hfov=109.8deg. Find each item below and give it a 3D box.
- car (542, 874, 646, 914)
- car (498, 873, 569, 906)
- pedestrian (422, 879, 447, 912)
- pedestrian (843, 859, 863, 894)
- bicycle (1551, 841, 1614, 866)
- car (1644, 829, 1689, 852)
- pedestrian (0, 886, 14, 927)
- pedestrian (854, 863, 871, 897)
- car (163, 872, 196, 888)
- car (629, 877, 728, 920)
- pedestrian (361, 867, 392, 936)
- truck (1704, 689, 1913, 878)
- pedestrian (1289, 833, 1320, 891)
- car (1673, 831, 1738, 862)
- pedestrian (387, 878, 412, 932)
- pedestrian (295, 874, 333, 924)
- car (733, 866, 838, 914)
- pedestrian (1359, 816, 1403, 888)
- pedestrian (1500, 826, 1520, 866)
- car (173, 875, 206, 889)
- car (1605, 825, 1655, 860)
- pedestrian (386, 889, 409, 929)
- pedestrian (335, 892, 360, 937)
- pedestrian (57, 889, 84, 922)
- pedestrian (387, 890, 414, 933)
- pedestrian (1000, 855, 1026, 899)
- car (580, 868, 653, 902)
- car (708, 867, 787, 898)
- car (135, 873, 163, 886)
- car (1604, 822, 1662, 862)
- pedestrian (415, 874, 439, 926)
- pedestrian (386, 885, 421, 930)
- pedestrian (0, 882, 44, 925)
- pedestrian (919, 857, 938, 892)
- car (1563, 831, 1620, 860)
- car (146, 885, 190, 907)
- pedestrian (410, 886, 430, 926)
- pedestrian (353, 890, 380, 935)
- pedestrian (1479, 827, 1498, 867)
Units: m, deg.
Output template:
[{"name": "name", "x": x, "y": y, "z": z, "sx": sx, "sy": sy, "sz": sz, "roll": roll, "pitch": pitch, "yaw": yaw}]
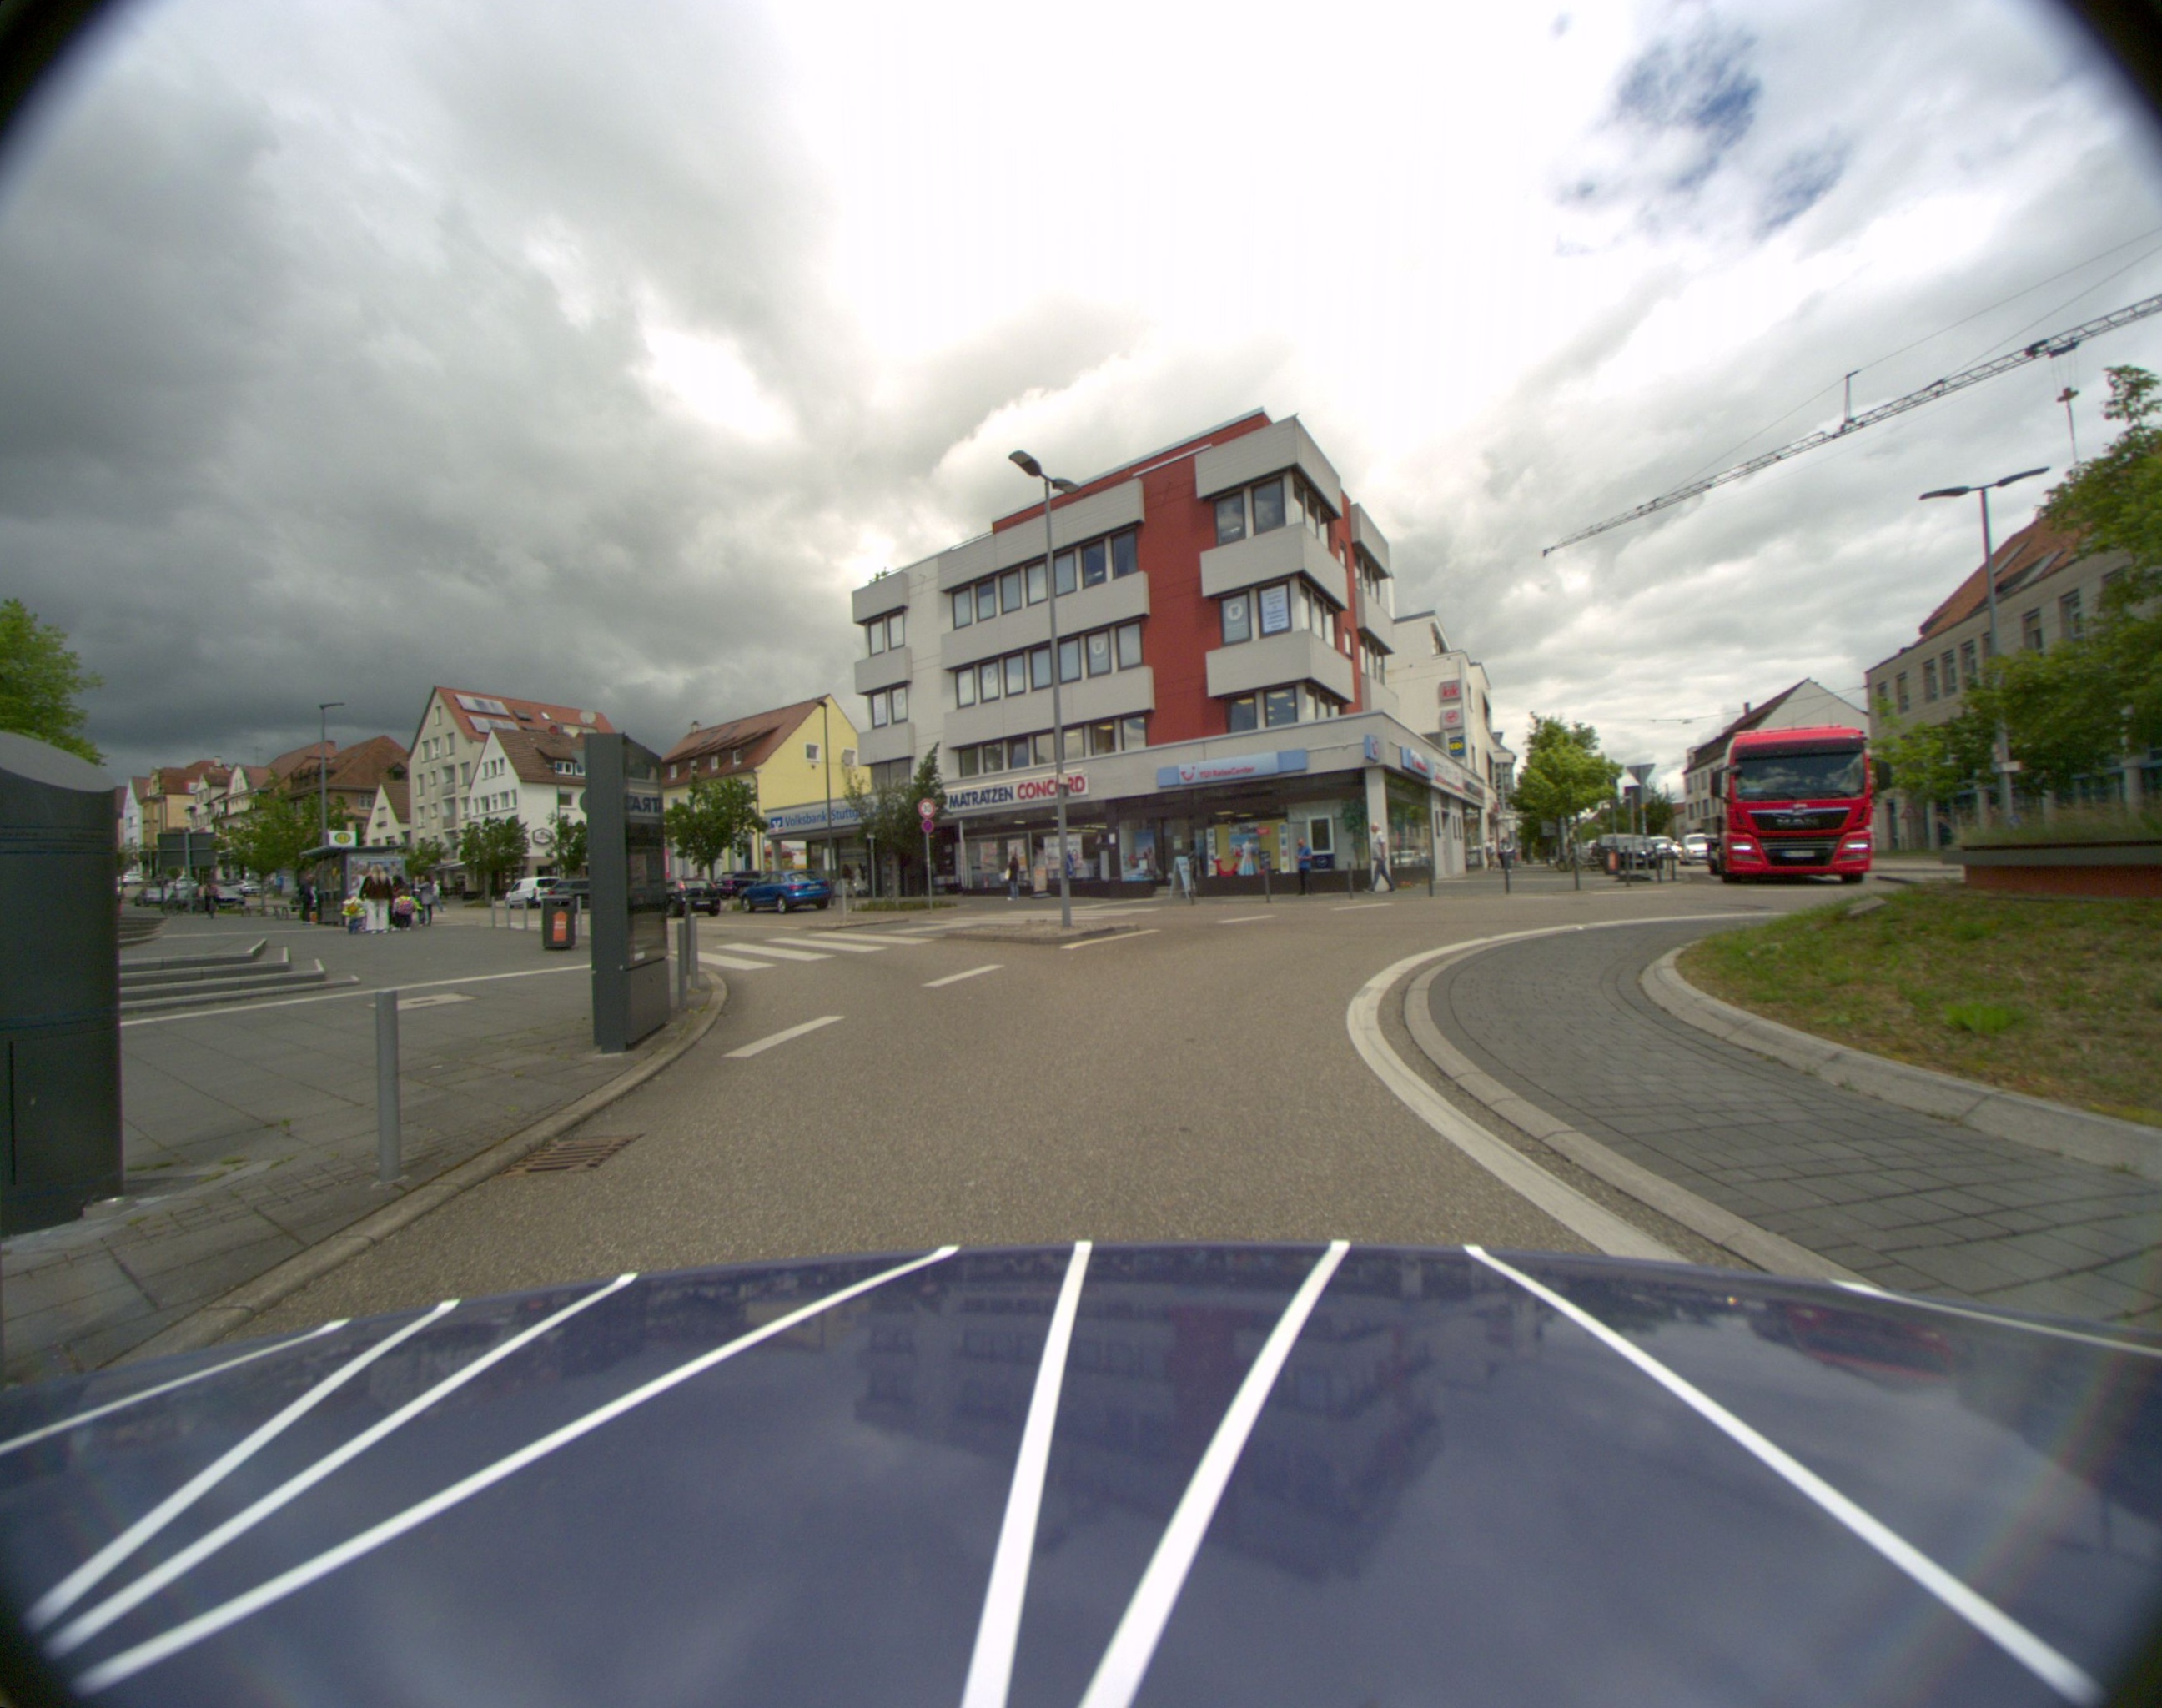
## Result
[{"name": "car", "x": -22.268, "y": 1.801, "z": 34.941, "sx": 3.740, "sy": 1.516, "sz": 1.891, "roll": -2, "pitch": 2, "yaw": -24}, {"name": "car", "x": -30.716, "y": 1.980, "z": 42.614, "sx": 4.339, "sy": 1.662, "sz": 1.665, "roll": -2, "pitch": 1, "yaw": 33}, {"name": "pedestrian", "x": -33.390, "y": 2.130, "z": 39.250, "sx": 0.687, "sy": 1.672, "sz": 0.713, "roll": -2, "pitch": 0, "yaw": -12}, {"name": "pedestrian", "x": -10.375, "y": 1.008, "z": 34.541, "sx": 0.585, "sy": 1.557, "sz": 0.646, "roll": -2, "pitch": -1, "yaw": 38}, {"name": "bicycle", "x": 20.042, "y": -0.016, "z": 30.424, "sx": 2.060, "sy": 0.940, "sz": 0.523, "roll": -1, "pitch": 1, "yaw": 31}, {"name": "car", "x": 37.705, "y": -0.896, "z": 48.999, "sx": 1.678, "sy": 1.324, "sz": 3.863, "roll": -3, "pitch": 0, "yaw": 29}, {"name": "pedestrian", "x": -32.540, "y": 1.570, "z": 22.749, "sx": 0.570, "sy": 1.220, "sz": 0.565, "roll": -3, "pitch": 1, "yaw": -44}, {"name": "pedestrian", "x": -10.126, "y": 1.192, "z": 35.231, "sx": 0.585, "sy": 1.557, "sz": 0.512, "roll": -2, "pitch": -1, "yaw": 37}, {"name": "car", "x": -103.329, "y": 2.958, "z": 87.093, "sx": 3.981, "sy": 1.670, "sz": 1.736, "roll": 0, "pitch": 1, "yaw": 31}, {"name": "car", "x": -15.253, "y": 1.630, "z": 28.705, "sx": 4.107, "sy": 1.411, "sz": 1.707, "roll": -2, "pitch": 1, "yaw": 38}, {"name": "pedestrian", "x": -18.698, "y": 1.246, "z": 20.154, "sx": 0.434, "sy": 1.812, "sz": 0.542, "roll": -2, "pitch": -2, "yaw": 41}, {"name": "truck", "x": 19.643, "y": -1.602, "z": 21.253, "sx": 2.959, "sy": 4.004, "sz": 10.616, "roll": -1, "pitch": 1, "yaw": 37}, {"name": "pedestrian", "x": 6.360, "y": 0.229, "z": 21.648, "sx": 0.606, "sy": 1.594, "sz": 0.568, "roll": -3, "pitch": 0, "yaw": -5}, {"name": "car", "x": 29.163, "y": -0.383, "z": 35.586, "sx": 1.678, "sy": 1.324, "sz": 3.863, "roll": -3, "pitch": 0, "yaw": 29}, {"name": "pedestrian", "x": -19.235, "y": 1.437, "z": 21.449, "sx": 0.389, "sy": 1.508, "sz": 0.391, "roll": -1, "pitch": -1, "yaw": 28}, {"name": "pedestrian", "x": -25.854, "y": 1.512, "z": 25.621, "sx": 0.802, "sy": 1.627, "sz": 0.685, "roll": -1, "pitch": 0, "yaw": -40}, {"name": "car", "x": -11.416, "y": 1.373, "z": 29.216, "sx": 4.319, "sy": 1.591, "sz": 1.703, "roll": -2, "pitch": 2, "yaw": 39}, {"name": "pedestrian", "x": 8.012, "y": -0.058, "z": 20.306, "sx": 0.681, "sy": 1.864, "sz": 0.805, "roll": -3, "pitch": 1, "yaw": -16}, {"name": "pedestrian", "x": 19.075, "y": -0.356, "z": 33.779, "sx": 0.538, "sy": 1.745, "sz": 0.509, "roll": -3, "pitch": 1, "yaw": -37}, {"name": "car", "x": -97.107, "y": 3.035, "z": 82.720, "sx": 3.493, "sy": 1.423, "sz": 1.736, "roll": 0, "pitch": 1, "yaw": 31}, {"name": "car", "x": 26.817, "y": -0.592, "z": 37.141, "sx": 1.859, "sy": 1.572, "sz": 4.384, "roll": -1, "pitch": 1, "yaw": 36}, {"name": "pedestrian", "x": -20.357, "y": 1.629, "z": 22.628, "sx": 0.351, "sy": 1.159, "sz": 0.336, "roll": 0, "pitch": -1, "yaw": 5}, {"name": "pedestrian", "x": -19.092, "y": 1.554, "z": 19.785, "sx": 0.382, "sy": 1.141, "sz": 0.441, "roll": -2, "pitch": -2, "yaw": 43}, {"name": "pedestrian", "x": -39.130, "y": 1.999, "z": 29.421, "sx": 0.540, "sy": 1.254, "sz": 0.571, "roll": -5, "pitch": -3, "yaw": 40}, {"name": "pedestrian", "x": -18.774, "y": 1.576, "z": 20.969, "sx": 0.390, "sy": 1.165, "sz": 0.477, "roll": -2, "pitch": -2, "yaw": 35}, {"name": "pedestrian", "x": -2.469, "y": 0.840, "z": 27.602, "sx": 0.637, "sy": 1.579, "sz": 0.590, "roll": -2, "pitch": 1, "yaw": 33}, {"name": "car", "x": -26.515, "y": 1.771, "z": 43.329, "sx": 4.464, "sy": 1.803, "sz": 1.765, "roll": -2, "pitch": 1, "yaw": 34}, {"name": "car", "x": -18.457, "y": 1.554, "z": 42.144, "sx": 1.664, "sy": 1.549, "sz": 3.646, "roll": -2, "pitch": 1, "yaw": 35}, {"name": "car", "x": -118.267, "y": 3.170, "z": 96.409, "sx": 3.519, "sy": 1.515, "sz": 1.694, "roll": 0, "pitch": 1, "yaw": 31}, {"name": "car", "x": 23.339, "y": -0.529, "z": 32.152, "sx": 1.858, "sy": 1.572, "sz": 4.384, "roll": -1, "pitch": 1, "yaw": 36}, {"name": "pedestrian", "x": -20.479, "y": 1.441, "z": 23.797, "sx": 0.388, "sy": 1.610, "sz": 0.469, "roll": 0, "pitch": -2, "yaw": -10}, {"name": "pedestrian", "x": -19.845, "y": 1.562, "z": 22.260, "sx": 0.599, "sy": 1.296, "sz": 0.433, "roll": 0, "pitch": -2, "yaw": 3}, {"name": "pedestrian", "x": -33.016, "y": 1.528, "z": 23.534, "sx": 0.772, "sy": 1.262, "sz": 0.675, "roll": -3, "pitch": 0, "yaw": -24}, {"name": "pedestrian", "x": -7.692, "y": 1.030, "z": 38.229, "sx": 0.585, "sy": 1.694, "sz": 0.646, "roll": -4, "pitch": -2, "yaw": 27}, {"name": "car", "x": 29.834, "y": -0.533, "z": 44.537, "sx": 1.859, "sy": 1.557, "sz": 4.381, "roll": -1, "pitch": 1, "yaw": 21}, {"name": "car", "x": -68.083, "y": 3.095, "z": 56.668, "sx": 3.493, "sy": 1.423, "sz": 1.525, "roll": 0, "pitch": 1, "yaw": 31}, {"name": "pedestrian", "x": -20.958, "y": 1.643, "z": 24.095, "sx": 0.405, "sy": 1.219, "sz": 0.387, "roll": -1, "pitch": -1, "yaw": -32}, {"name": "pedestrian", "x": -19.283, "y": 1.561, "z": 20.514, "sx": 0.391, "sy": 1.191, "sz": 0.510, "roll": 0, "pitch": -2, "yaw": -28}, {"name": "pedestrian", "x": 18.330, "y": -0.314, "z": 34.191, "sx": 0.679, "sy": 1.745, "sz": 0.511, "roll": -2, "pitch": 1, "yaw": 30}]
